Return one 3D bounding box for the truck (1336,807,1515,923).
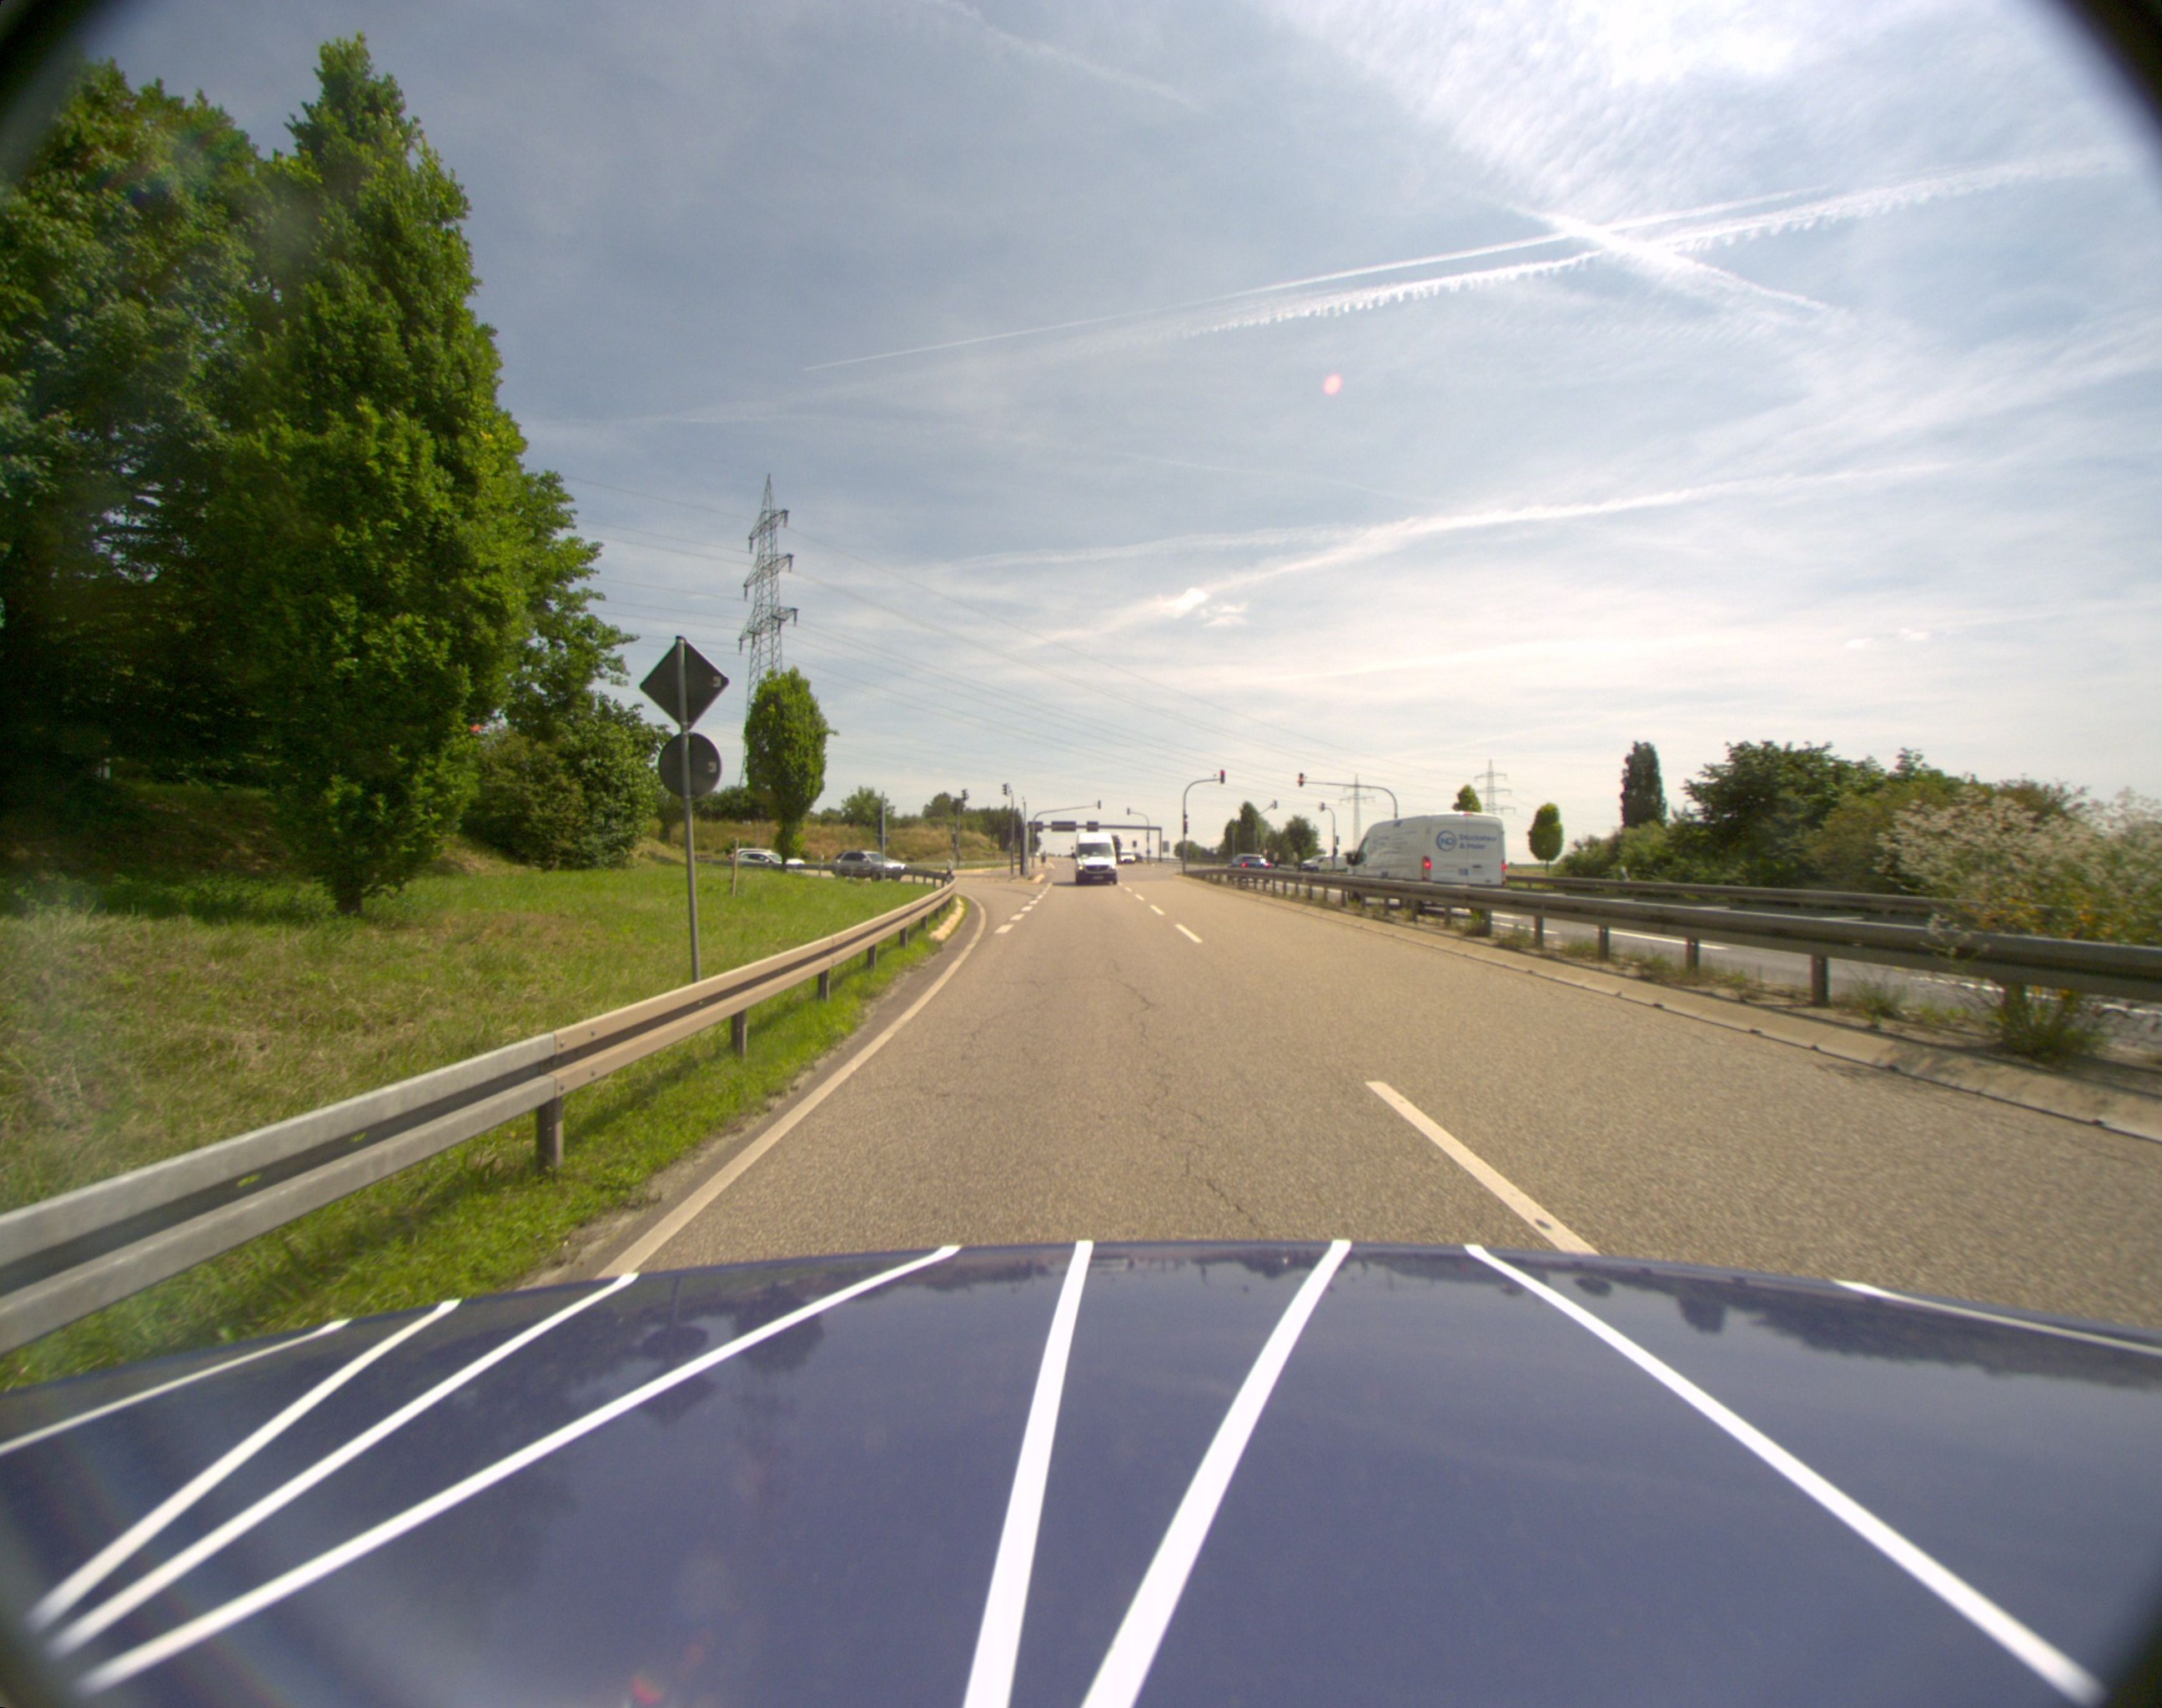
[{"bbox_3d":[8.985,0.243,20.592,2.045,2.605,6.019,2,0,0],"label":"truck"}]

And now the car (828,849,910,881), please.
[{"bbox_3d":[-11.714,0.571,41.991,4.360,1.645,1.840,1,1,30],"label":"car"}]

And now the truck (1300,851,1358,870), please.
[{"bbox_3d":[25.400,0.690,77.970,5.283,1.747,1.998,2,1,-10],"label":"truck"}]

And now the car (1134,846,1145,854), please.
[{"bbox_3d":[11.463,-0.779,148.225,1.648,1.614,4.326,2,1,-2],"label":"car"}]

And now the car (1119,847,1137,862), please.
[{"bbox_3d":[5.856,0.068,95.293,1.772,1.788,4.750,-1,1,-1],"label":"car"}]

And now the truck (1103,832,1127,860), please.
[{"bbox_3d":[4.872,-1.181,111.210,2.791,3.990,5.968,-1,1,-4],"label":"truck"}]

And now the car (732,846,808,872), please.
[{"bbox_3d":[-20.038,0.312,49.162,4.375,1.583,1.777,0,0,-17],"label":"car"}]

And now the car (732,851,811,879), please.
[{"bbox_3d":[-18.222,0.617,44.820,3.993,1.591,1.783,1,1,11],"label":"car"}]

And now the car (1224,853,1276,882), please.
[{"bbox_3d":[9.070,0.701,41.145,1.760,1.460,4.195,-1,0,-1],"label":"car"}]

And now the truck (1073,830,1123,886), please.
[{"bbox_3d":[0.738,0.156,36.992,1.999,2.518,5.103,-1,1,-3],"label":"truck"}]

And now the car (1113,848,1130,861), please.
[{"bbox_3d":[5.443,0.043,103.507,1.861,1.648,4.347,-1,1,-3],"label":"car"}]
